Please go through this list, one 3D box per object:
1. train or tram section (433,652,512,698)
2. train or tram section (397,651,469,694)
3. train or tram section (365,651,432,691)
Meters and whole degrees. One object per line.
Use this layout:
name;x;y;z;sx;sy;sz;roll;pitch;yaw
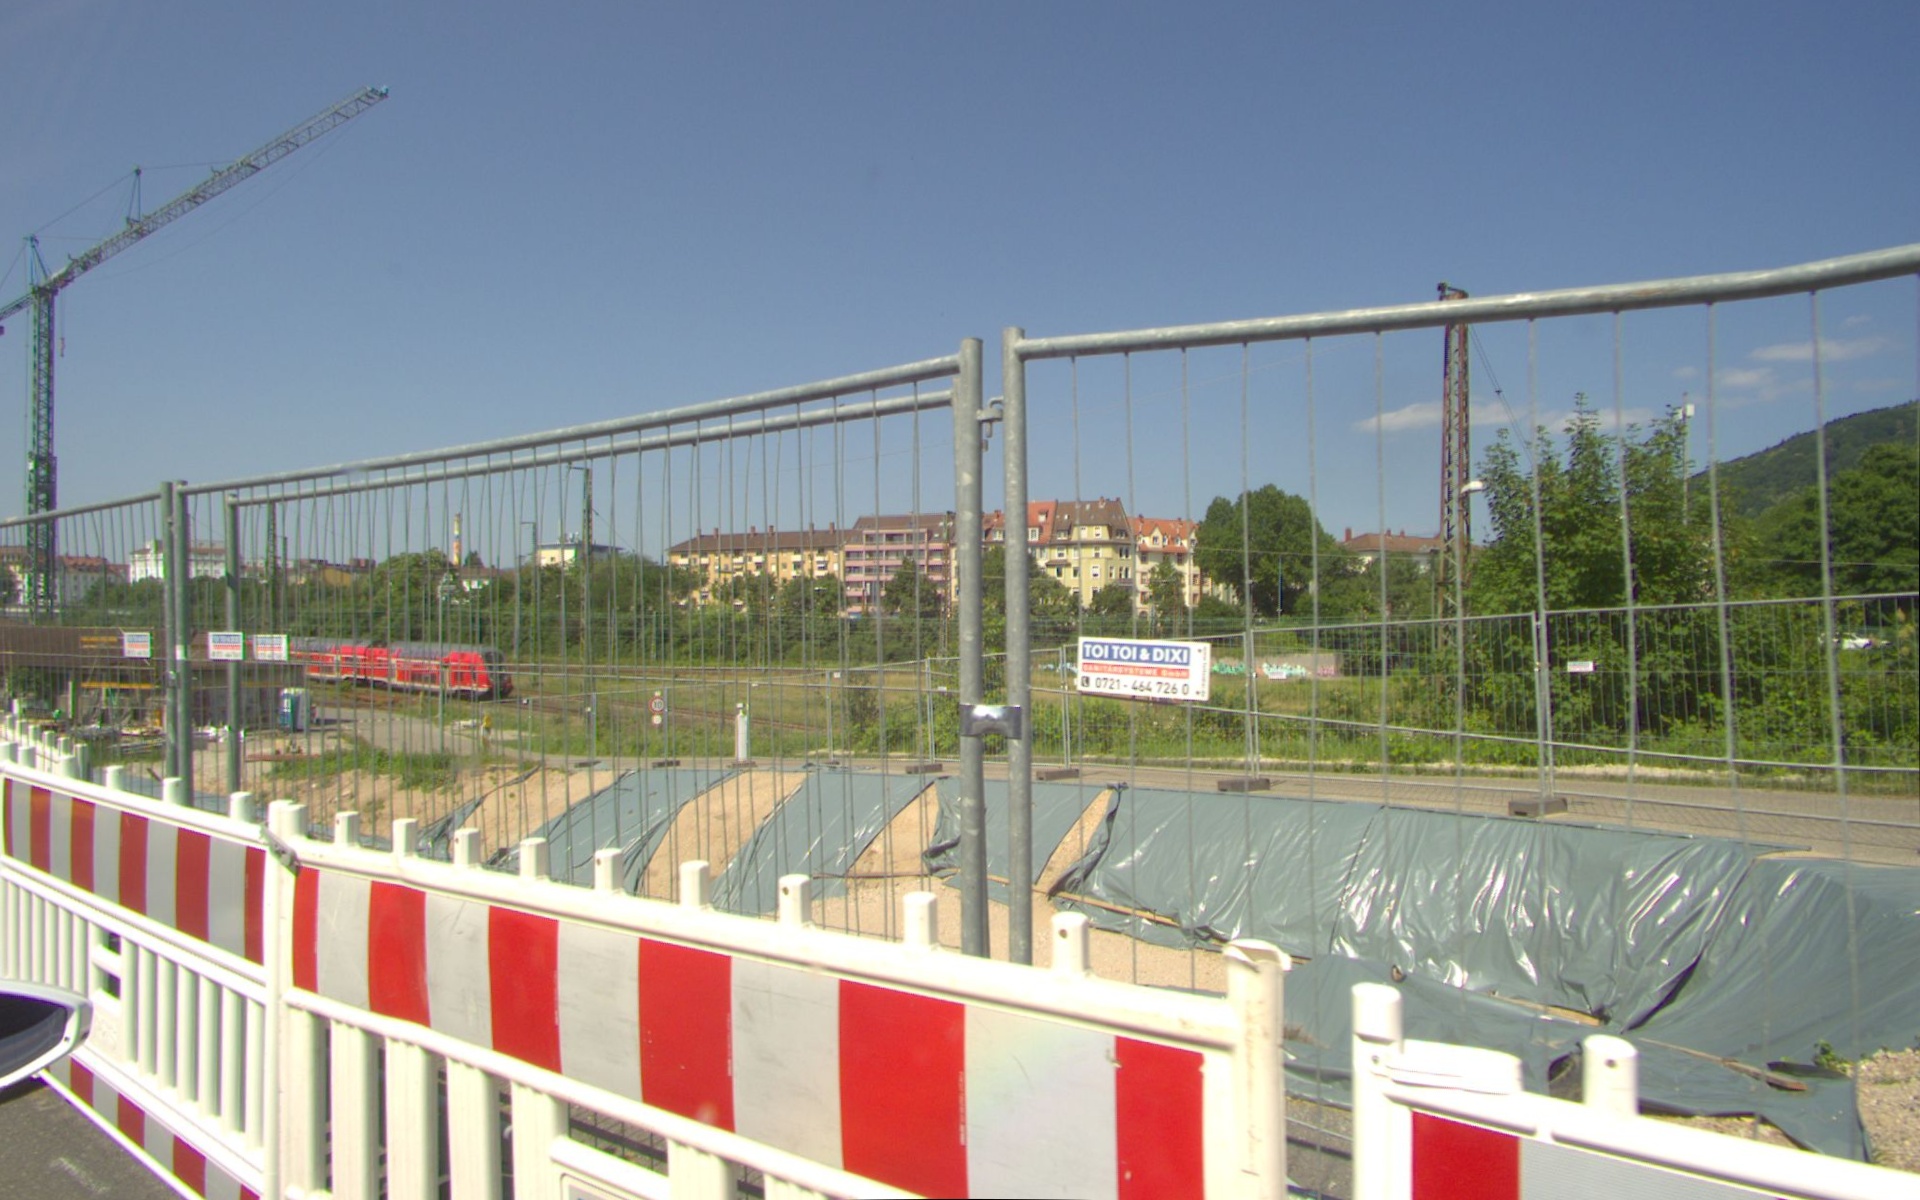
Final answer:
train or tram section;-42.404;6.430;86.916;8.875;3.746;3.001;-2;-5;42
train or tram section;-48.973;6.710;92.907;8.876;3.759;3.001;-2;-5;42
train or tram section;-55.500;6.985;98.913;8.876;3.757;3.001;-2;-5;42
